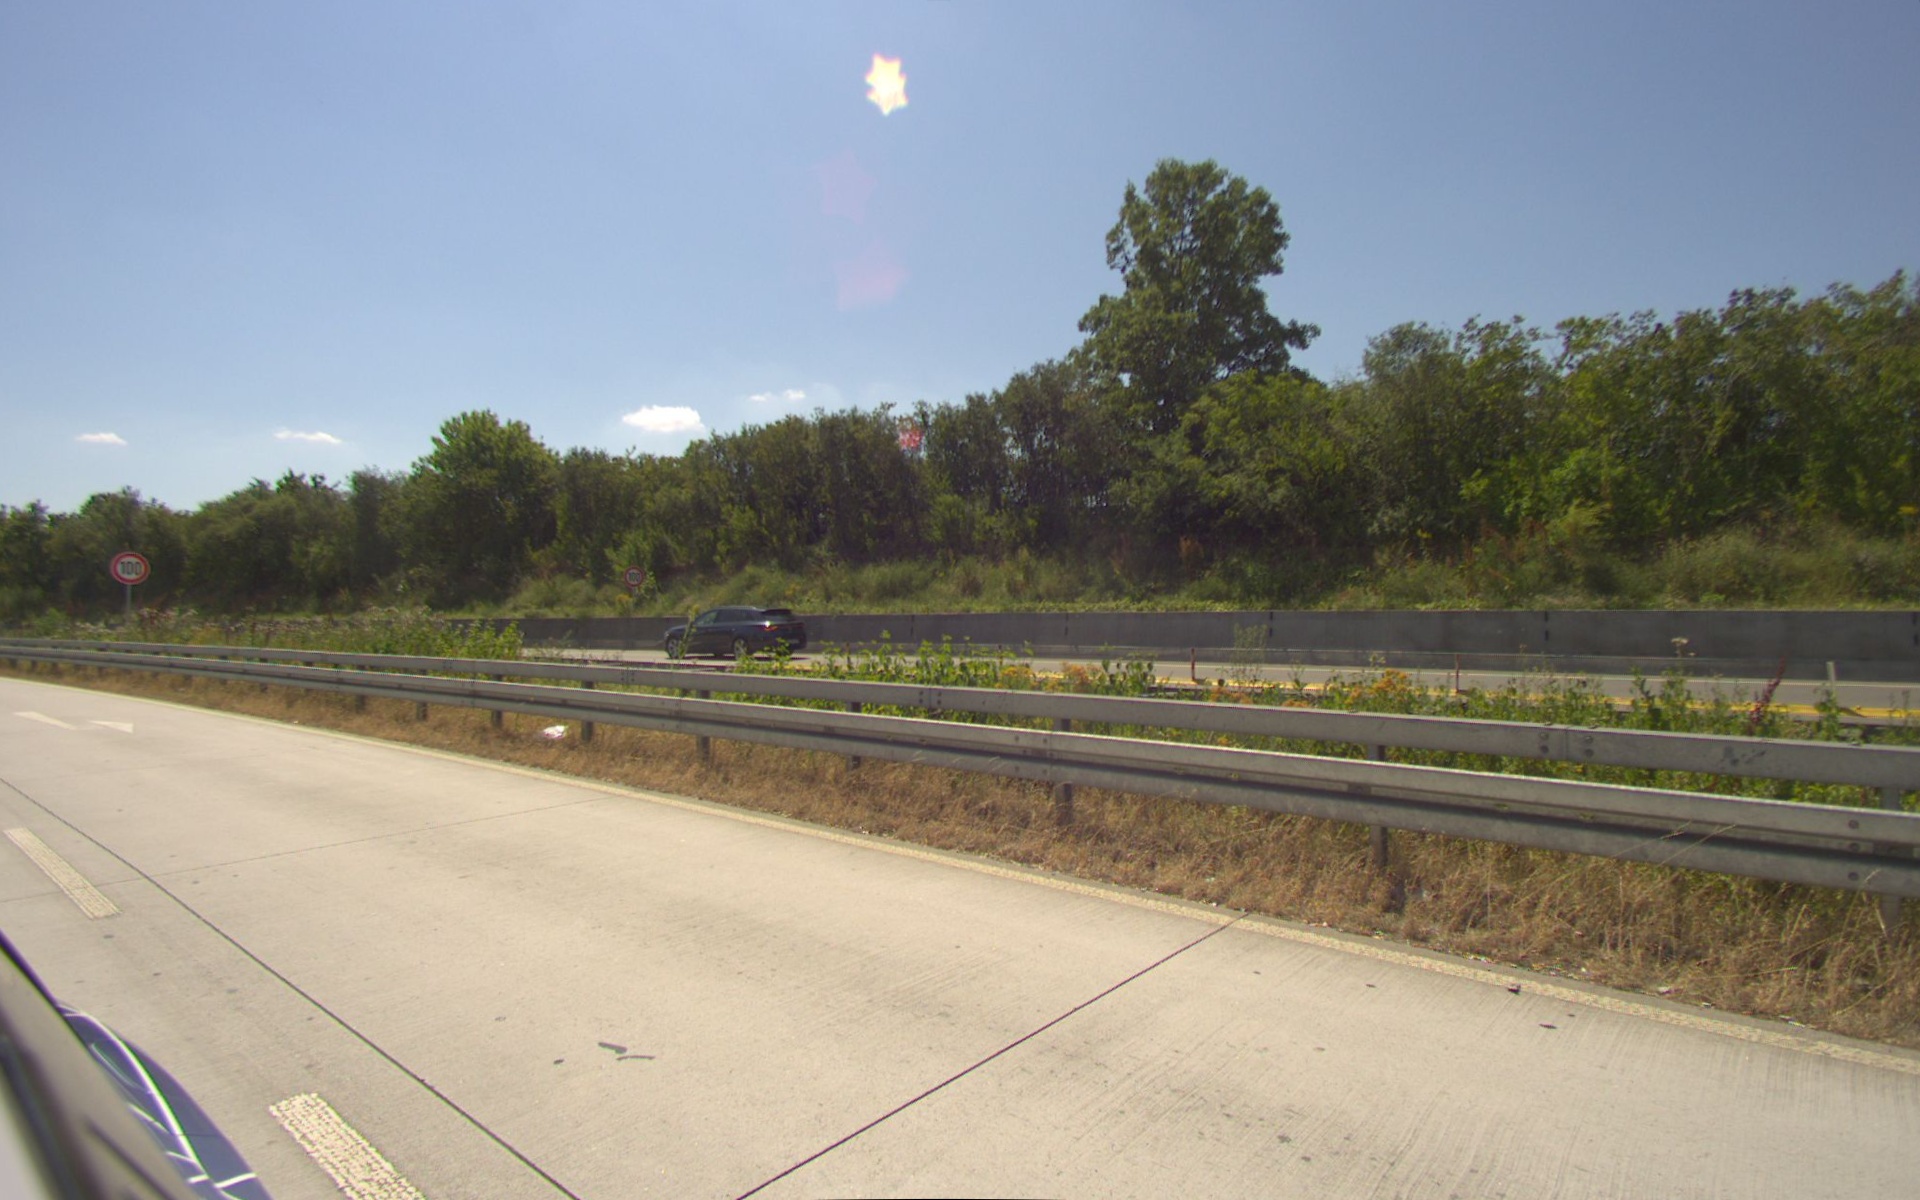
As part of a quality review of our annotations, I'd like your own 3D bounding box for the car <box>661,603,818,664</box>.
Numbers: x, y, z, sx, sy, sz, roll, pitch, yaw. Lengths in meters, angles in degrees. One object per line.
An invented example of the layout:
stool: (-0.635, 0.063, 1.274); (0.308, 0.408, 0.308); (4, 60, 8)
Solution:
car: (-5.985, 0.857, 27.268); (4.284, 1.496, 1.697); (-1, 0, 35)
